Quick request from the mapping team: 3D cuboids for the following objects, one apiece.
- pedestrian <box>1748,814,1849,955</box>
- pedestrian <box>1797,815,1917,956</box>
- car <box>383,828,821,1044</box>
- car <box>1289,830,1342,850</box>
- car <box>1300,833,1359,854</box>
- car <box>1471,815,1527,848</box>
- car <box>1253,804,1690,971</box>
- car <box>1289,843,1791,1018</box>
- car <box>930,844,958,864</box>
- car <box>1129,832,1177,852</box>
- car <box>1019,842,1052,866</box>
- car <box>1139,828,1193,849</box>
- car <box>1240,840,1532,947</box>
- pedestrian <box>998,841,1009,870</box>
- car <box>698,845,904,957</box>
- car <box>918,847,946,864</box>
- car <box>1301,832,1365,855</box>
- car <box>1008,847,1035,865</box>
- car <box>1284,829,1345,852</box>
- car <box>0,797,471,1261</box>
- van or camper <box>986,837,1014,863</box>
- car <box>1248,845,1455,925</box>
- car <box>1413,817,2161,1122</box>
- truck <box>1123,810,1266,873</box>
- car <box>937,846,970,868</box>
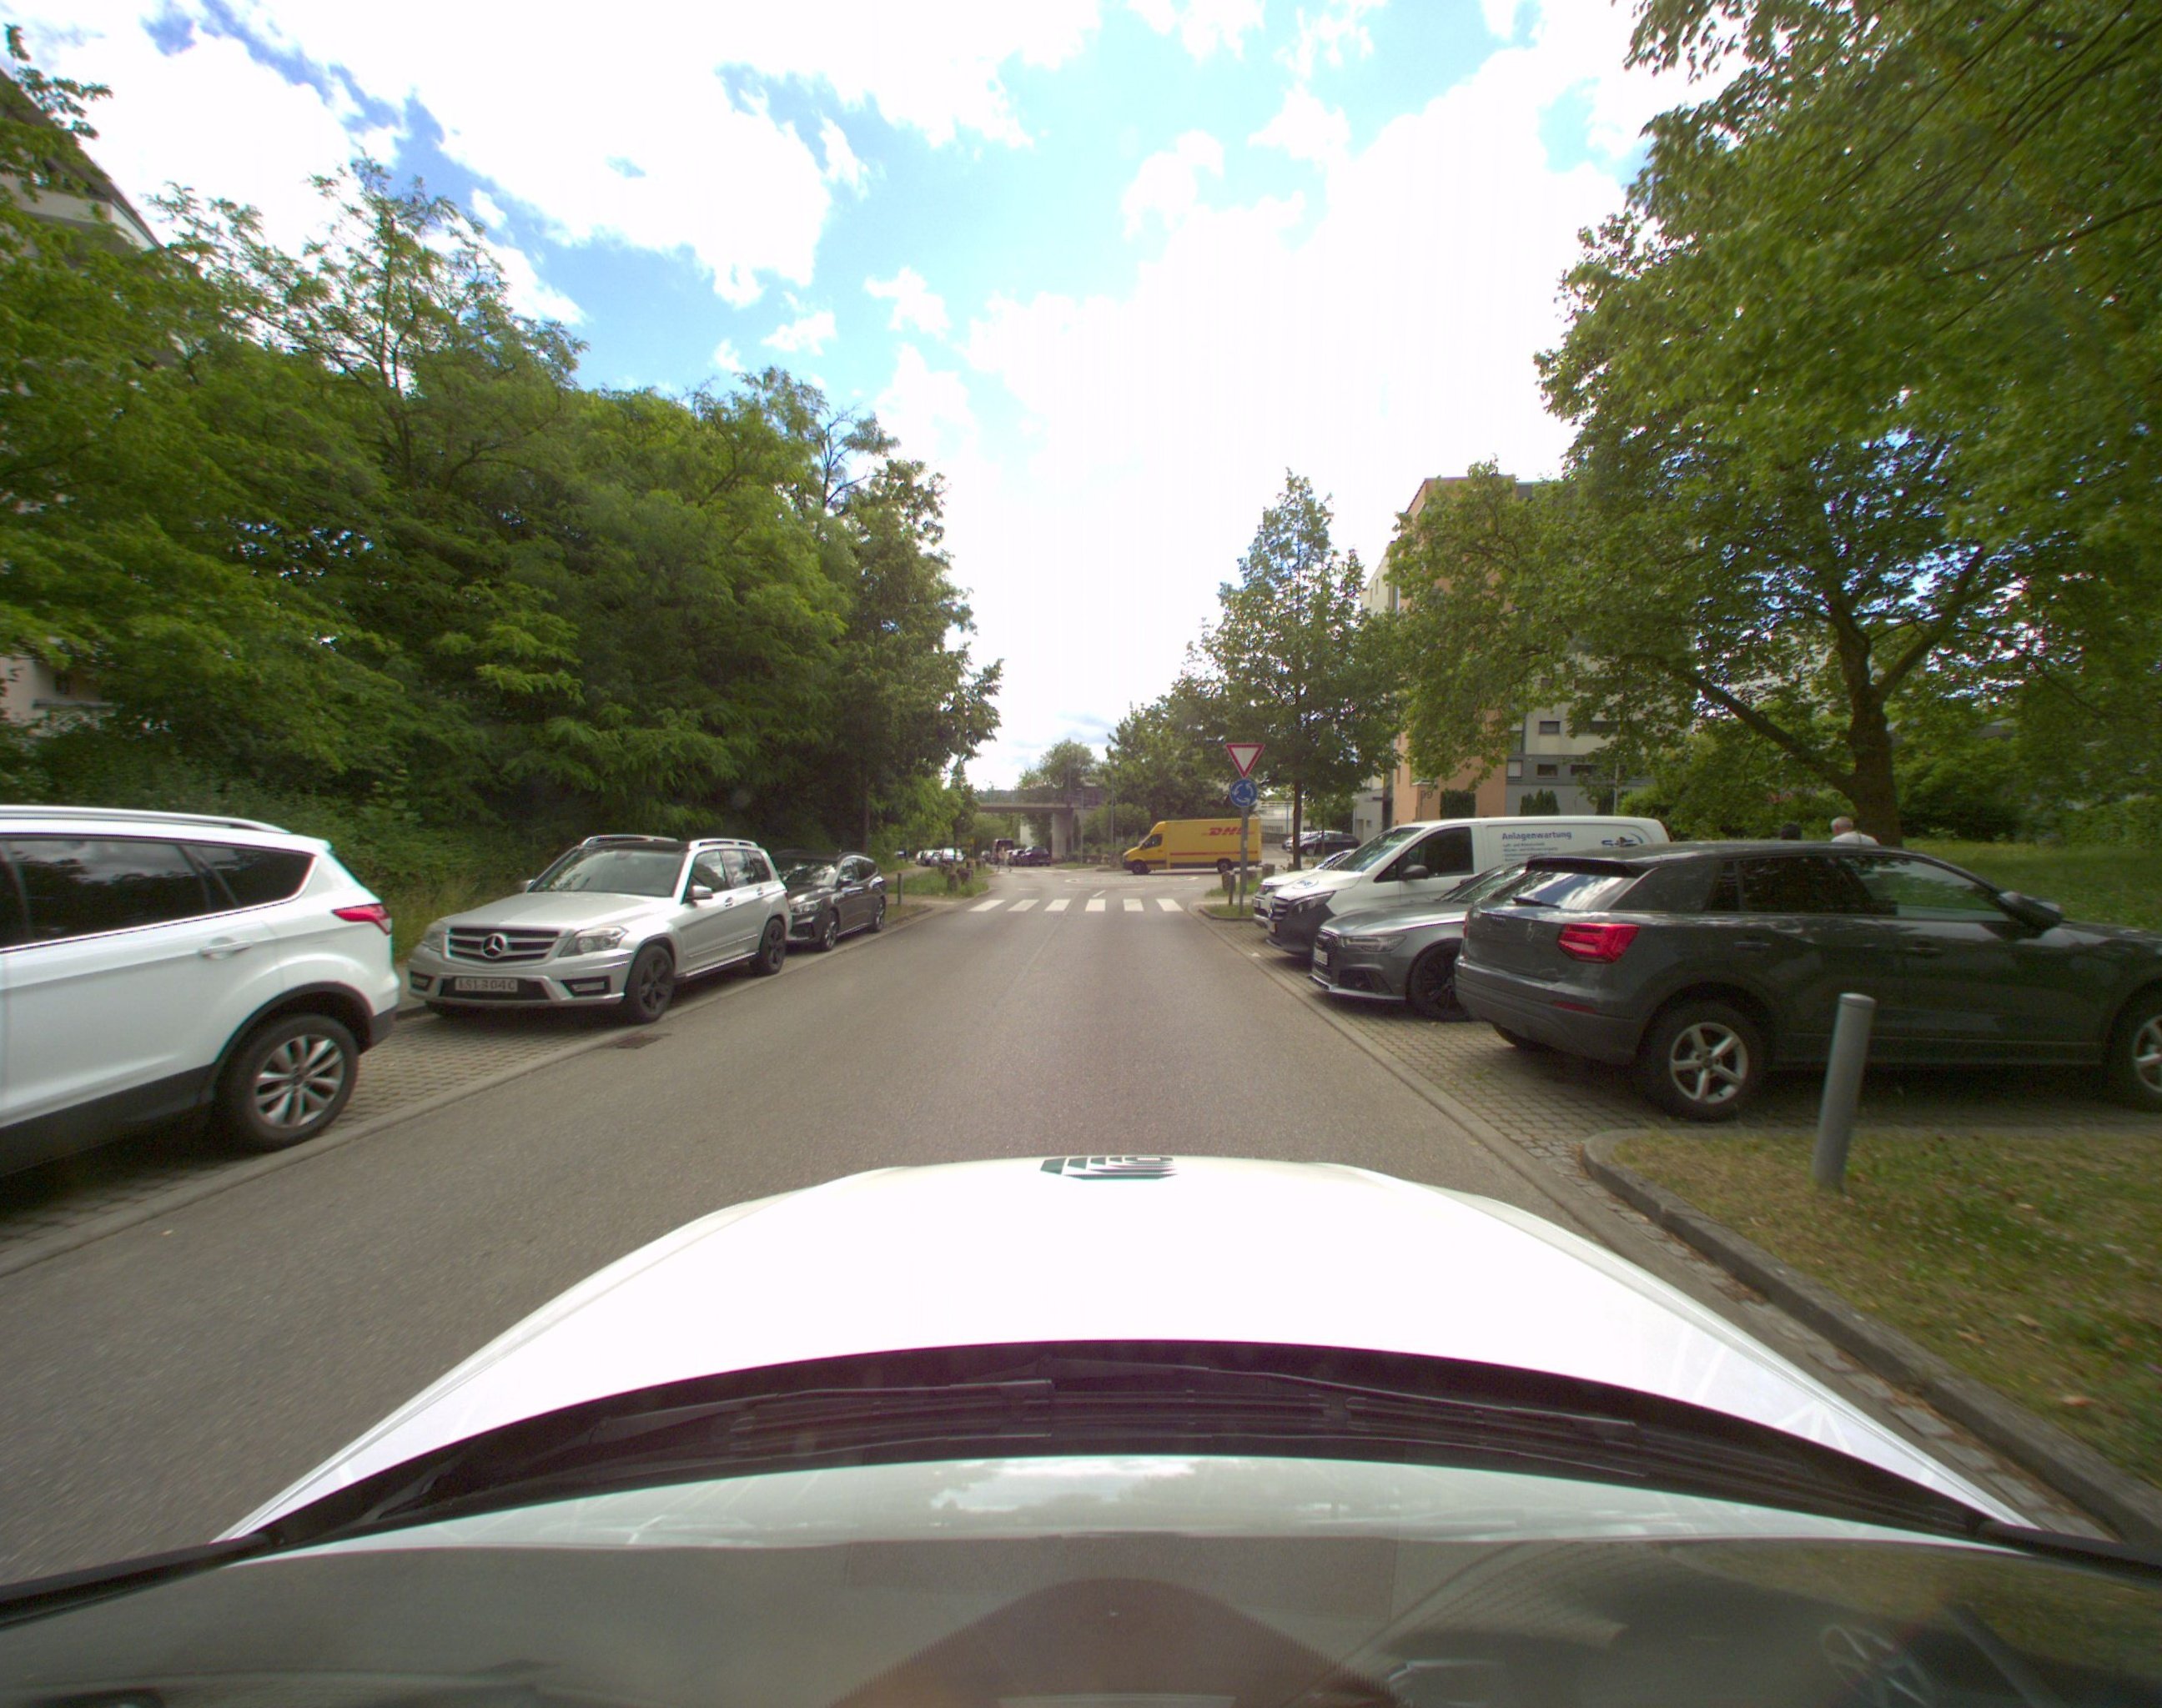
[{"bbox_3d":[8.693,0.356,9.891,0.686,1.656,0.600,1,1,1],"label":"pedestrian"},{"bbox_3d":[9.412,0.362,9.905,0.866,1.656,0.593,1,1,1],"label":"pedestrian"},{"bbox_3d":[-4.535,0.605,8.714,1.792,1.615,4.482,3,1,3],"label":"car"},{"bbox_3d":[18.667,-1.118,65.003,3.952,1.517,1.764,1,1,14],"label":"car"},{"bbox_3d":[17.484,-0.743,57.452,3.801,1.458,1.699,1,1,12],"label":"car"},{"bbox_3d":[22.537,-1.194,44.005,1.559,1.658,3.787,-2,1,9],"label":"car"},{"bbox_3d":[4.812,0.390,10.573,4.756,1.831,1.843,-2,0,1],"label":"car"},{"bbox_3d":[4.166,0.644,7.868,3.813,1.371,1.842,-2,0,-1],"label":"car"},{"bbox_3d":[-10.583,-0.022,62.551,1.887,1.460,3.530,0,1,-14],"label":"car"},{"bbox_3d":[5.538,-0.935,62.506,3.629,1.498,1.688,1,1,7],"label":"car"},{"bbox_3d":[-3.771,0.008,67.127,1.817,1.678,4.346,-1,-3,-16],"label":"car"},{"bbox_3d":[5.971,-1.105,56.992,3.629,1.439,1.688,1,1,7],"label":"car"},{"bbox_3d":[4.844,0.586,13.360,4.136,1.602,1.739,1,1,1],"label":"car"},{"bbox_3d":[-4.640,0.102,48.620,0.656,1.721,0.738,0,1,-5],"label":"pedestrian"},{"bbox_3d":[-4.447,0.637,13.760,1.683,1.465,4.460,3,1,3],"label":"car"},{"bbox_3d":[-13.586,0.163,74.065,1.890,1.509,4.425,0,0,-18],"label":"car"},{"bbox_3d":[17.051,-0.740,55.301,4.014,1.517,1.762,1,1,12],"label":"car"},{"bbox_3d":[-5.417,0.175,73.345,1.702,1.496,4.098,-1,0,-15],"label":"car"},{"bbox_3d":[17.203,-0.993,60.257,4.099,1.593,1.695,1,1,5],"label":"car"},{"bbox_3d":[-4.814,0.610,2.857,1.800,1.664,4.440,3,1,2],"label":"car"},{"bbox_3d":[-8.426,-0.409,84.247,1.997,2.523,5.443,-3,0,-14],"label":"van or camper"},{"bbox_3d":[5.269,0.580,16.141,3.507,1.461,1.735,0,0,-6],"label":"car"},{"bbox_3d":[4.481,0.594,5.331,3.814,1.520,1.910,-2,0,-2],"label":"car"},{"bbox_3d":[5.781,-0.556,41.320,6.750,2.703,2.484,-3,-4,16],"label":"truck"},{"bbox_3d":[-9.090,0.207,57.816,1.790,1.468,3.978,0,1,-17],"label":"car"}]
